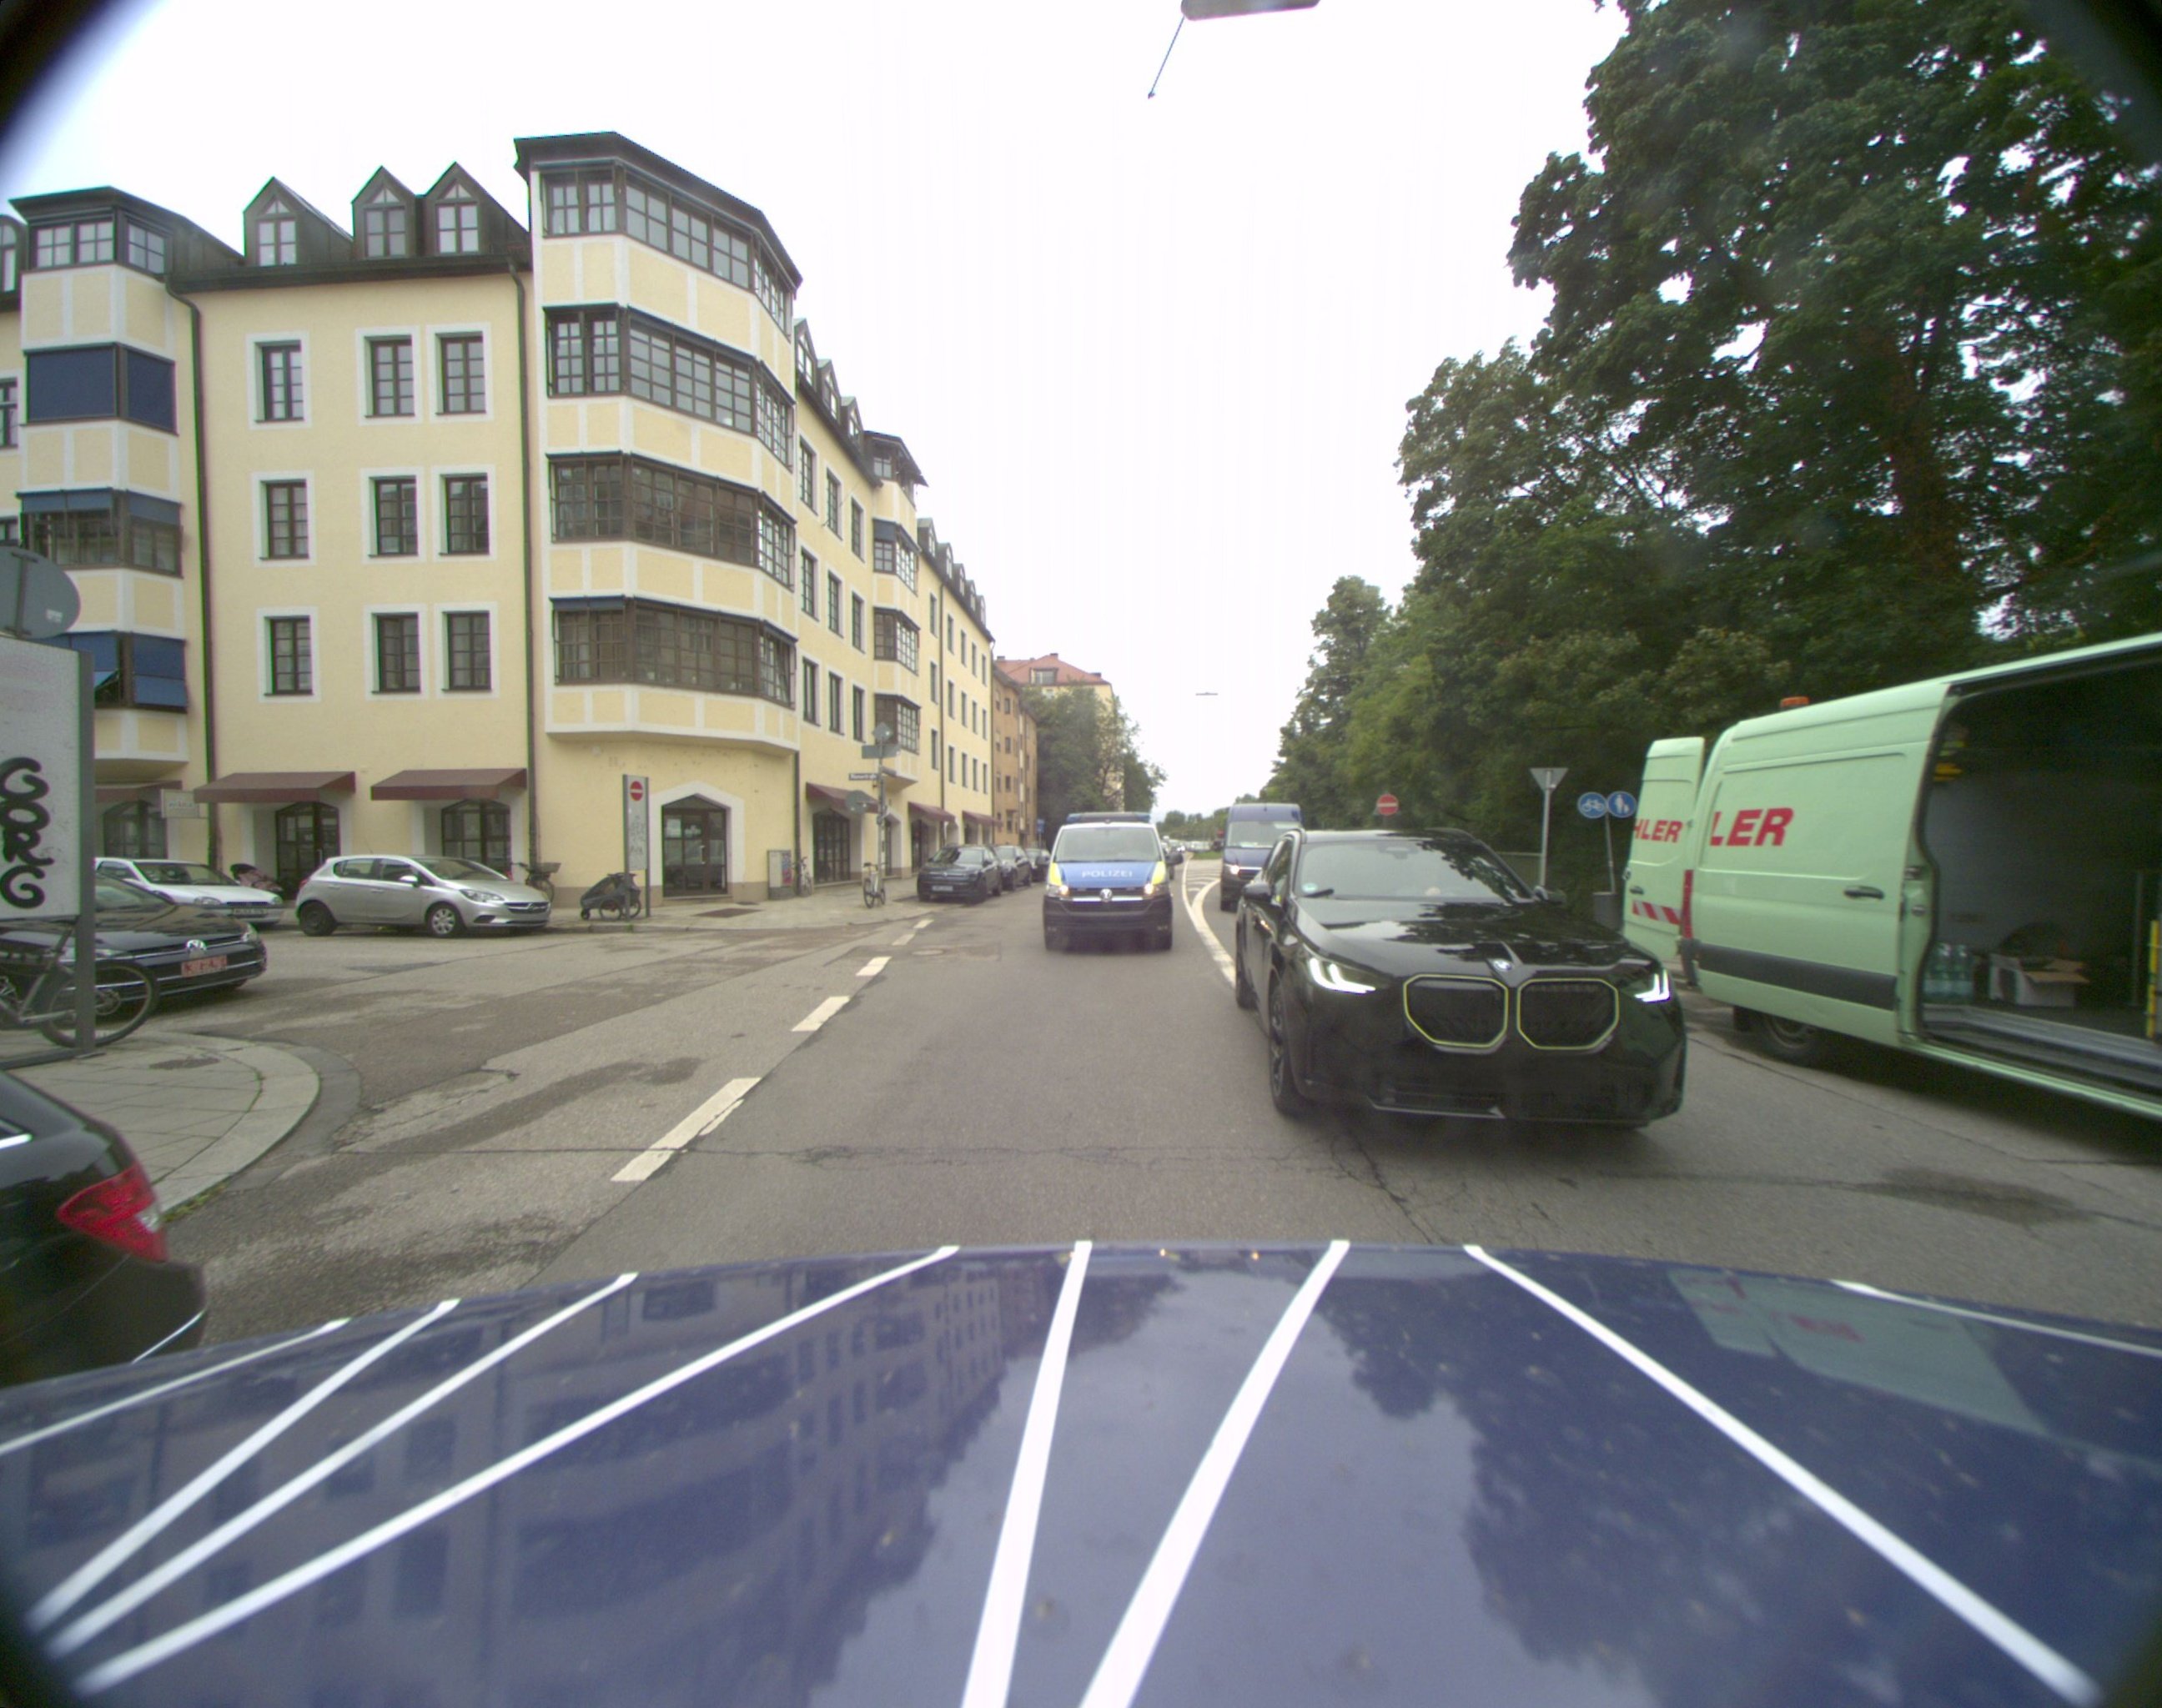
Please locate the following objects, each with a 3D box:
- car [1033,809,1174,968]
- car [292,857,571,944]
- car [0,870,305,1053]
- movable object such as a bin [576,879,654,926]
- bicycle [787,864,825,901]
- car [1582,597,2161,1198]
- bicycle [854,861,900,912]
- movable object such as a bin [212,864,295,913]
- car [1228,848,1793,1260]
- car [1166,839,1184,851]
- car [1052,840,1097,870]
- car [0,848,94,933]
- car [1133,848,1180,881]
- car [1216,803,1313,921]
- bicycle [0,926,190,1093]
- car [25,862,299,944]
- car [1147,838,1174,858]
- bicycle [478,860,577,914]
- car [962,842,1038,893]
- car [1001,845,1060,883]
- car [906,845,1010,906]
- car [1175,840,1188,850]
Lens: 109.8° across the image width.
[{"bbox_3d":[0.583,0.418,12.820,1.826,2.087,5.634,-1,1,6],"label":"car"},{"bbox_3d":[-11.616,0.803,13.728,3.741,1.431,1.753,0,-1,8],"label":"car"},{"bbox_3d":[-10.571,0.943,7.546,3.881,1.479,1.892,0,2,4],"label":"car"},{"bbox_3d":[-9.387,0.964,15.328,1.125,0.895,0.684,0,2,4],"label":"movable object such as a bin"},{"bbox_3d":[-7.730,0.781,21.414,0.262,0.897,1.695,4,2,6],"label":"bicycle"},{"bbox_3d":[5.716,0.166,3.919,2.146,2.558,6.795,-1,1,4],"label":"car"},{"bbox_3d":[-5.098,0.785,19.124,0.430,1.152,2.053,1,2,5],"label":"bicycle"},{"bbox_3d":[-19.348,0.792,17.782,1.125,1.075,0.767,0,2,5],"label":"movable object such as a bin"},{"bbox_3d":[2.136,0.786,5.275,1.920,1.557,4.295,0,2,8],"label":"car"},{"bbox_3d":[10.949,-1.070,88.031,1.836,1.390,4.002,1,1,10],"label":"car"},{"bbox_3d":[-0.291,0.018,46.123,1.882,1.642,5.619,1,1,8],"label":"car"},{"bbox_3d":[-22.135,0.698,14.608,4.024,1.575,1.985,0,2,6],"label":"car"},{"bbox_3d":[3.199,0.417,31.652,1.494,1.207,3.614,-1,1,12],"label":"car"},{"bbox_3d":[4.672,0.073,19.196,2.003,2.477,6.237,0,2,15],"label":"car"},{"bbox_3d":[-7.347,1.069,5.094,0.496,0.999,1.804,2,0,6],"label":"bicycle"},{"bbox_3d":[-17.128,0.864,14.255,3.451,1.330,1.639,1,2,7],"label":"car"},{"bbox_3d":[6.759,-0.510,64.293,1.997,1.587,4.002,1,1,10],"label":"car"},{"bbox_3d":[-12.509,0.738,17.185,1.904,1.180,0.515,0,1,4],"label":"bicycle"},{"bbox_3d":[-2.922,0.428,28.293,1.816,1.580,4.165,4,2,7],"label":"car"},{"bbox_3d":[-2.147,0.378,33.364,1.763,1.514,3.934,2,2,9],"label":"car"},{"bbox_3d":[-3.578,0.570,23.086,2.111,1.613,4.497,0,1,4],"label":"car"},{"bbox_3d":[15.292,-1.413,115.323,1.836,1.390,4.002,1,1,10],"label":"car"}]
